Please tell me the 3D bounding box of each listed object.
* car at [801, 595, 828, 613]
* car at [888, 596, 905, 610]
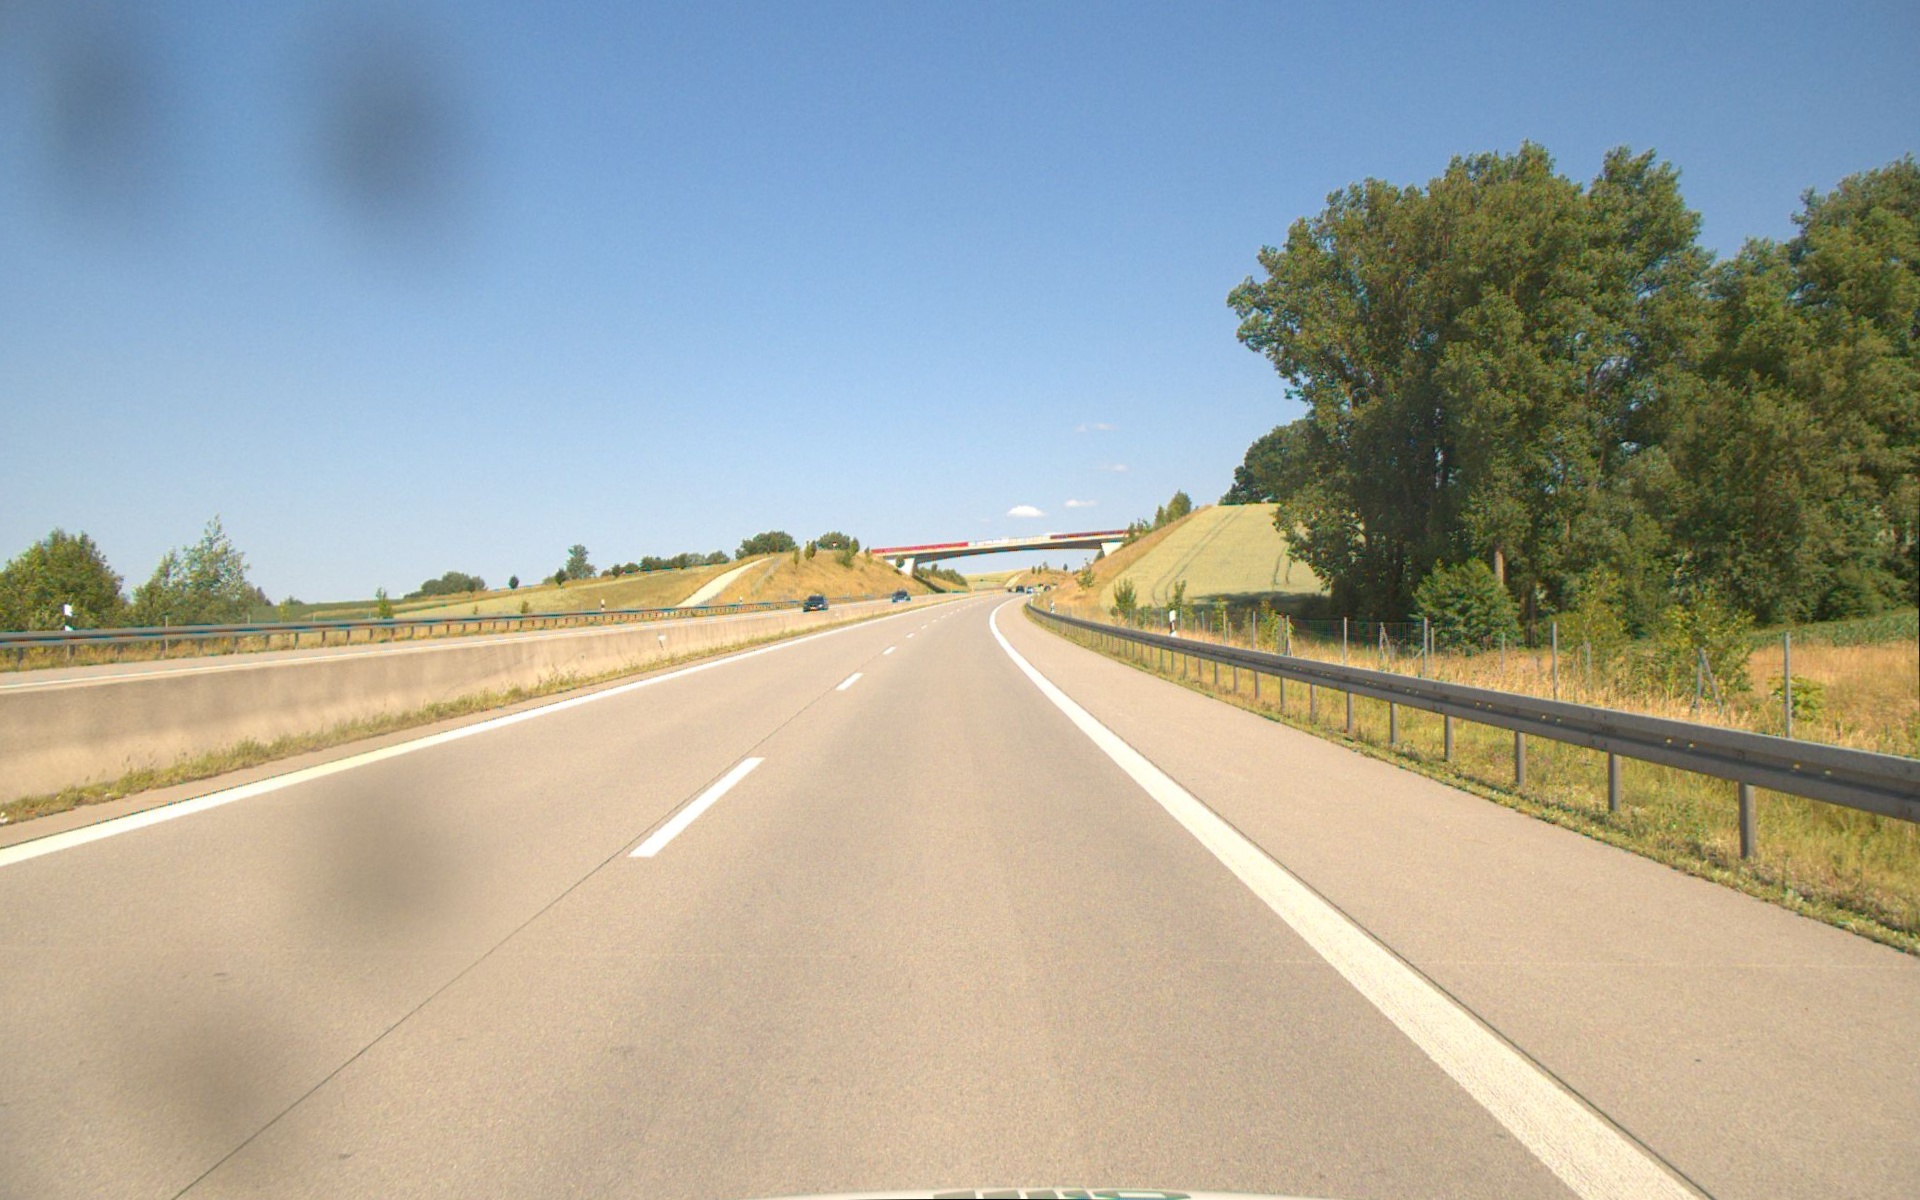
[{"bbox_3d":[-12.295,0.377,140.169,1.775,1.482,4.512,1,0,1],"label":"car"},{"bbox_3d":[-7.804,0.425,203.231,1.775,1.643,4.677,1,0,2],"label":"car"}]
